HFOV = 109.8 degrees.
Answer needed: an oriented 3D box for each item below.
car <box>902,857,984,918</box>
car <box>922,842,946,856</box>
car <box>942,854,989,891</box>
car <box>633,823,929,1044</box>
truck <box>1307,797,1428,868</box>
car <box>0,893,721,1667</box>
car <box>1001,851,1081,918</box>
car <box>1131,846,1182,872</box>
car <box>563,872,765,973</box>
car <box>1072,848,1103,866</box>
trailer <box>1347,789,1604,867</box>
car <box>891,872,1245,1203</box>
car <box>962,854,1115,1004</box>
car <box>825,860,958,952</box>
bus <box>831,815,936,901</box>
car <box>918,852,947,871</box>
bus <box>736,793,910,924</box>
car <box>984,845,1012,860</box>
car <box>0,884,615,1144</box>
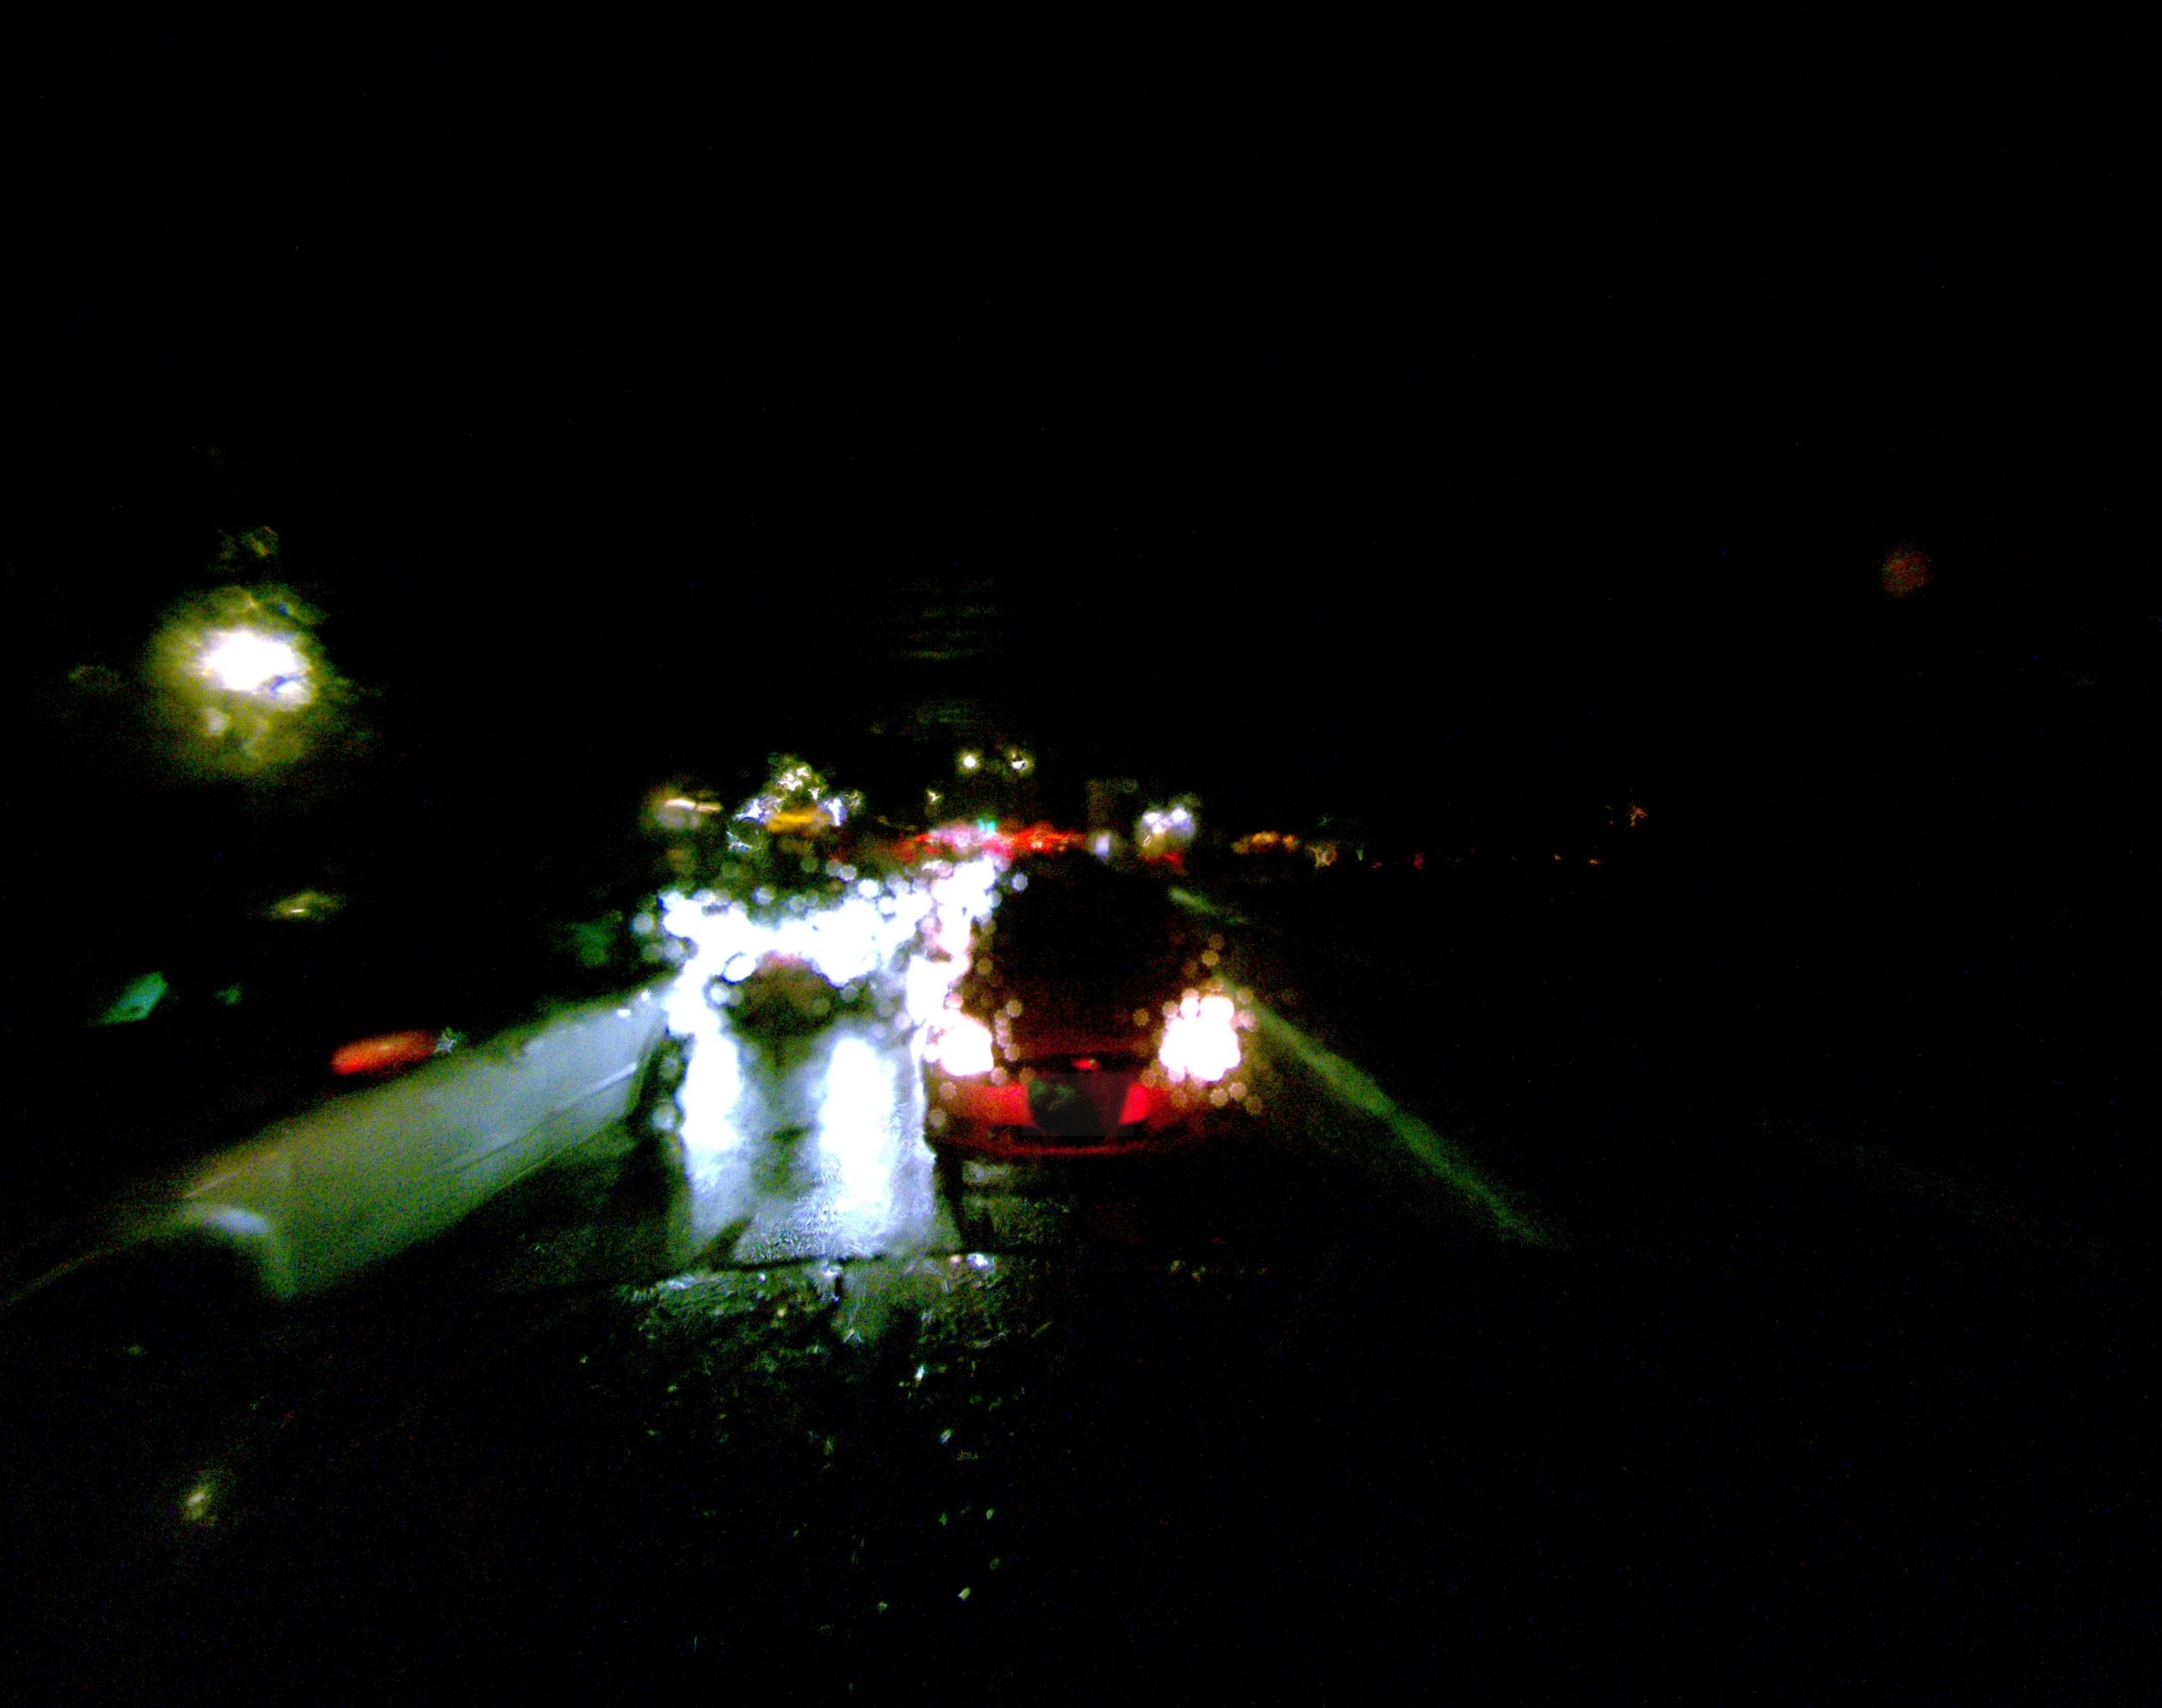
[{"bbox_3d":[-3.907,0.890,22.137,1.629,1.494,3.999,-2,1,-1],"label":"car"},{"bbox_3d":[-20.523,-0.703,106.116,2.003,1.915,3.990,-3,1,-32],"label":"car"},{"bbox_3d":[-5.132,0.800,34.214,1.683,1.463,3.998,-2,1,-3],"label":"car"},{"bbox_3d":[-3.356,0.752,9.595,1.999,2.076,4.347,-2,1,-1],"label":"car"},{"bbox_3d":[18.282,-1.327,48.968,6.369,4.152,3.971,-2,1,6],"label":"truck"},{"bbox_3d":[-3.164,1.010,2.689,1.792,1.359,3.999,-2,2,0],"label":"car"},{"bbox_3d":[-1.042,0.725,20.342,1.881,1.534,3.998,-2,1,-2],"label":"car"},{"bbox_3d":[5.030,0.340,51.064,2.001,1.596,3.994,-3,1,-17],"label":"car"},{"bbox_3d":[-7.156,1.091,13.518,1.755,1.422,3.758,-1,0,-5],"label":"car"},{"bbox_3d":[0.553,0.249,71.395,1.824,1.595,4.138,-2,1,-15],"label":"car"},{"bbox_3d":[24.625,-1.568,48.309,13.903,4.152,3.971,-2,1,6],"label":"trailer"},{"bbox_3d":[-0.034,0.911,5.525,1.603,1.360,3.942,-2,1,1],"label":"car"},{"bbox_3d":[-0.453,0.854,10.635,1.683,1.591,3.996,-2,1,1],"label":"car"},{"bbox_3d":[-3.692,0.949,15.491,1.869,1.503,3.765,-2,1,-3],"label":"car"},{"bbox_3d":[-8.257,0.148,33.158,2.777,3.105,9.757,-2,0,-5],"label":"bus"},{"bbox_3d":[-13.075,0.623,66.606,1.745,1.581,3.993,-3,1,-22],"label":"car"},{"bbox_3d":[-7.382,0.111,23.446,2.777,3.105,9.757,-2,0,-5],"label":"bus"},{"bbox_3d":[-9.476,-0.170,86.268,2.002,1.510,3.992,-3,1,-24],"label":"car"},{"bbox_3d":[-6.500,1.077,6.898,1.756,1.382,4.566,-2,0,-1],"label":"car"}]
